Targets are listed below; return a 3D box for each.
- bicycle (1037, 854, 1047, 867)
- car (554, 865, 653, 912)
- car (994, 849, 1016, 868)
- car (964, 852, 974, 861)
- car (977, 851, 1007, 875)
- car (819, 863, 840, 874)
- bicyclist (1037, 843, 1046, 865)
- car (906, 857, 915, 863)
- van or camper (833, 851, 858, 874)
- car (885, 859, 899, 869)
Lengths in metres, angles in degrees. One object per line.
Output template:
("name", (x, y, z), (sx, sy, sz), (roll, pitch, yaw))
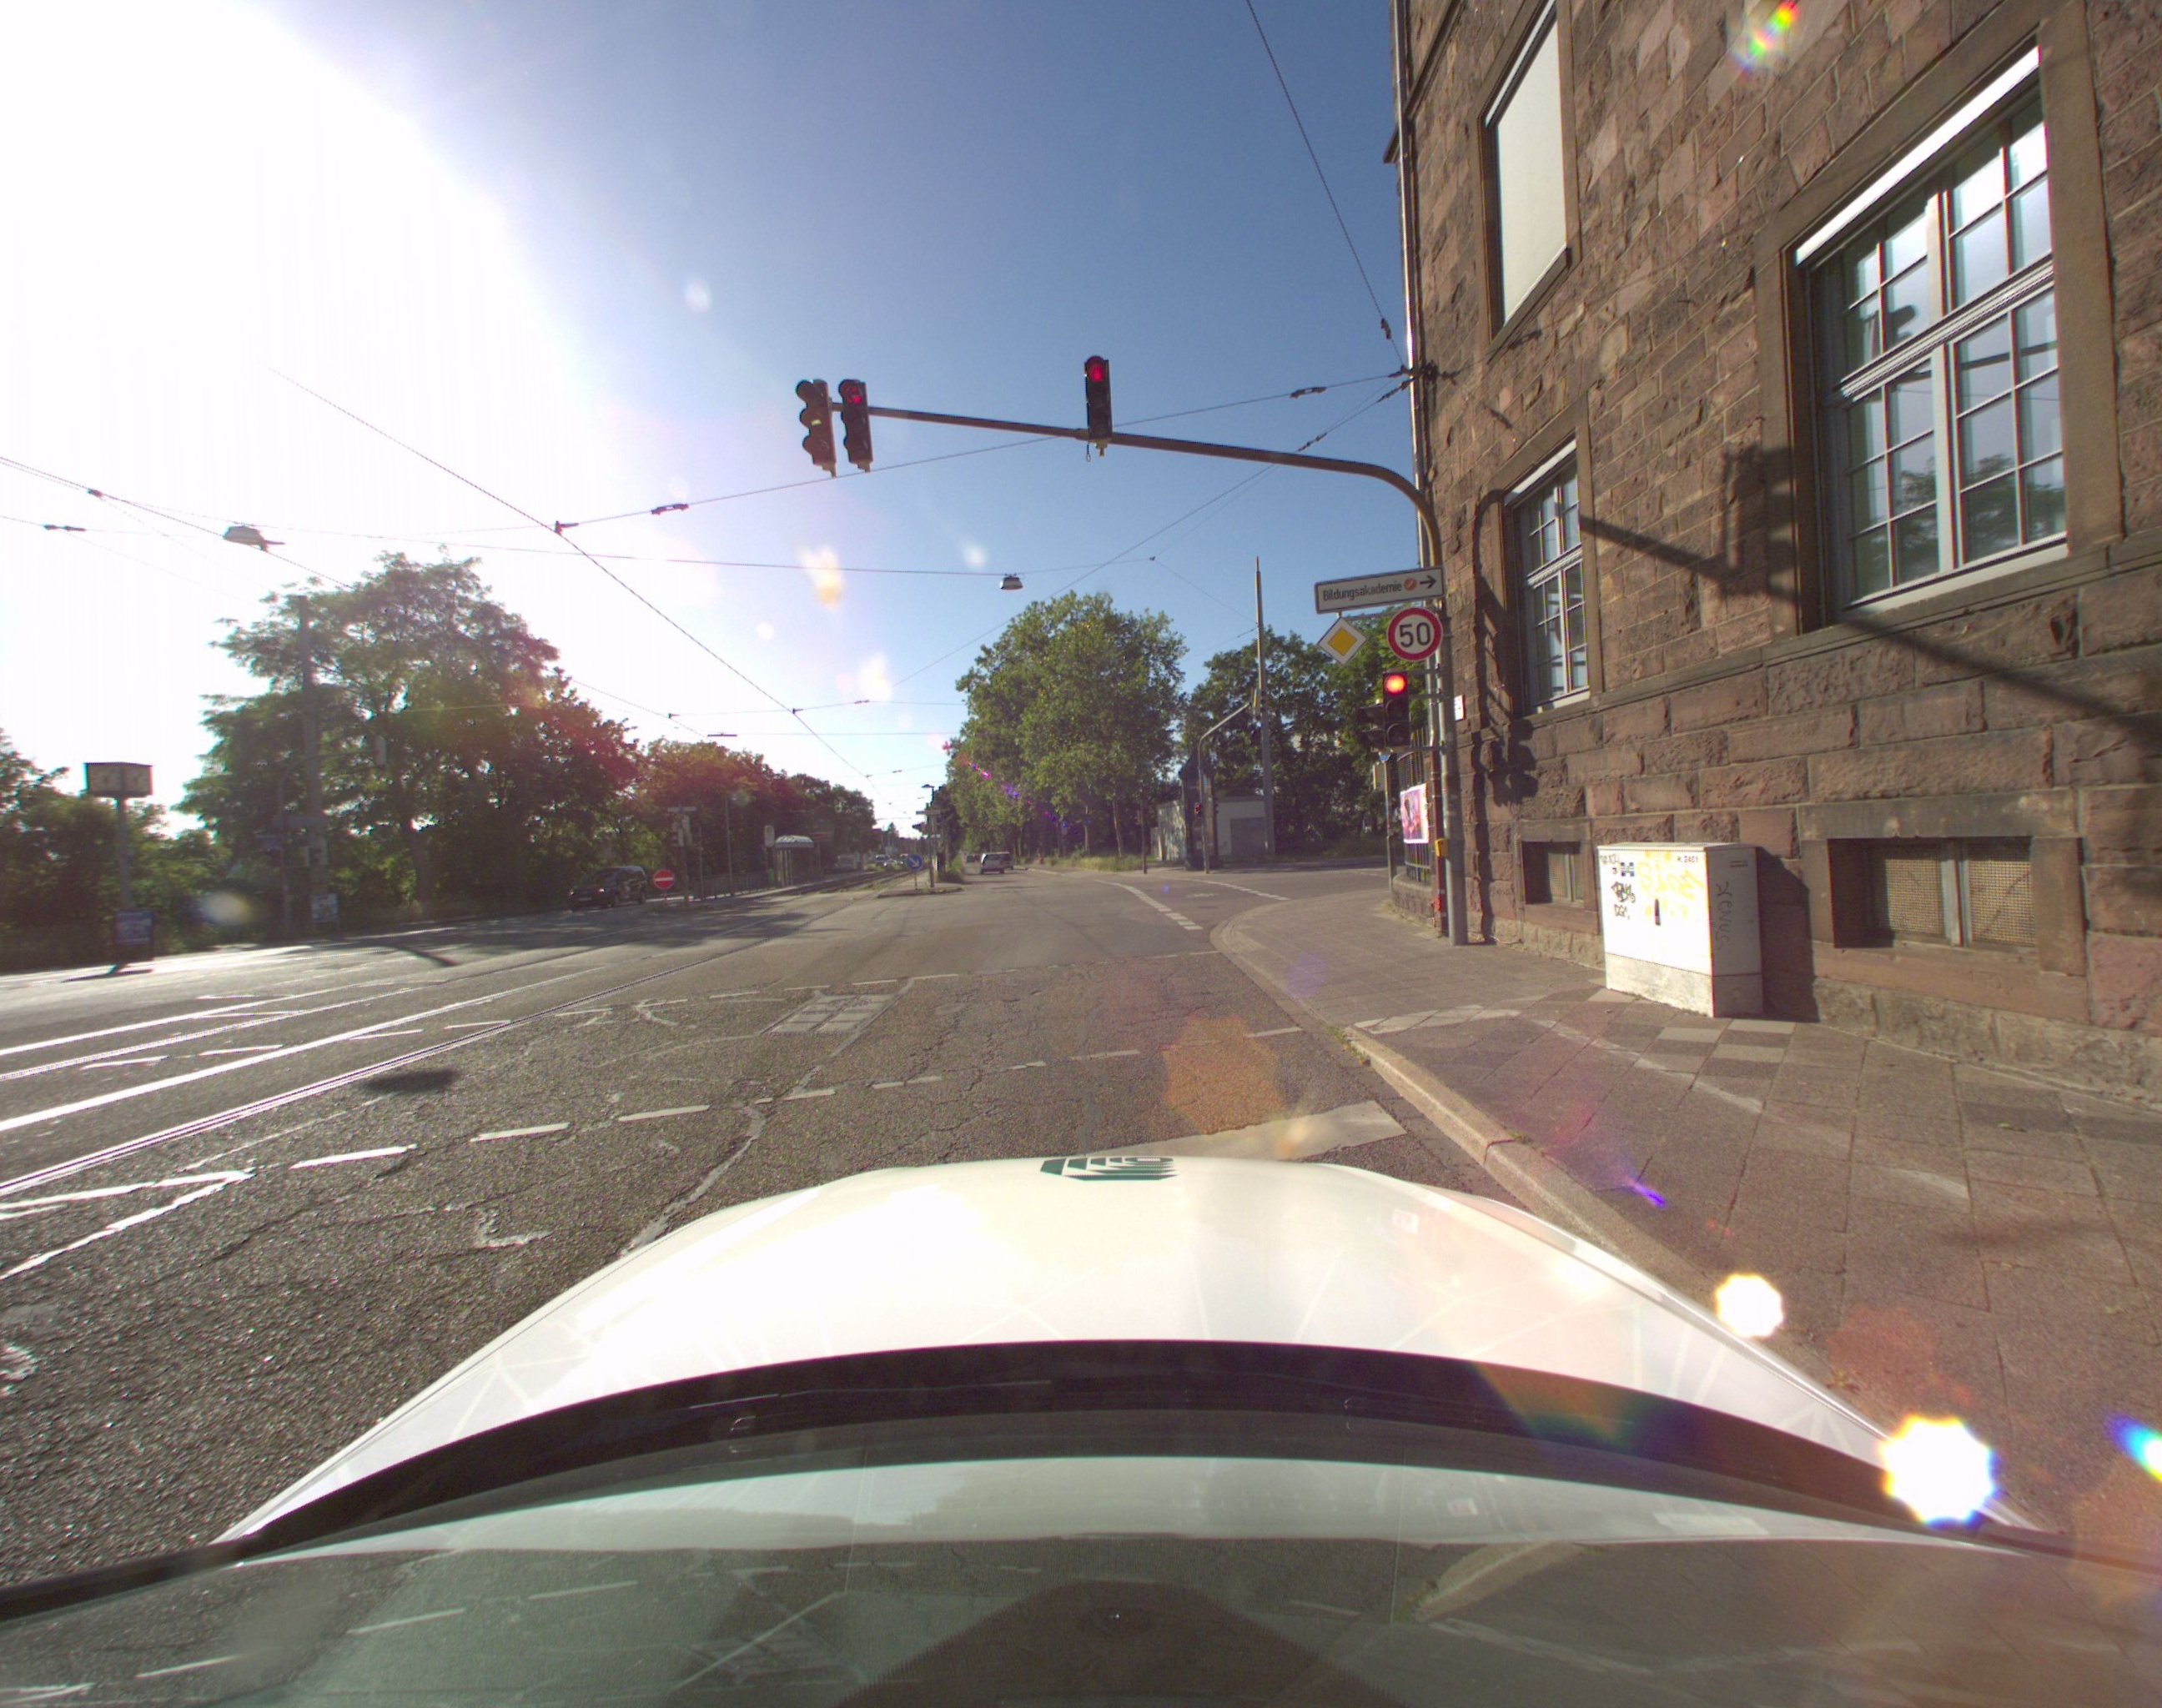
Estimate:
("bicycle", (-3.232, 0.533, 67.572), (0.536, 1.066, 1.428), (-4, 0, -10))
("car", (-20.759, 1.433, 35.676), (1.994, 1.767, 5.014), (-4, 0, -9))
("car", (-6.602, 0.401, 70.496), (1.750, 1.604, 3.739), (0, 0, -9))
("car", (-21.646, 0.520, 157.675), (1.750, 1.604, 3.569), (-4, 1, -9))
("car", (-6.189, 0.596, 56.384), (1.867, 1.486, 3.545), (-3, 0, -8))
("car", (-34.400, 1.955, 111.582), (1.919, 1.266, 3.990), (-4, 0, -7))
("bicyclist", (-3.263, -0.016, 67.558), (0.534, 1.769, 0.710), (-4, 0, -11))
("car", (-43.515, 1.495, 208.313), (1.994, 1.469, 4.361), (-3, 0, -10))
("van or camper", (-35.852, 1.263, 124.217), (2.589, 3.106, 6.768), (-4, 0, -9))
("car", (-34.223, 1.759, 147.256), (1.919, 1.567, 3.990), (-4, 0, -7))
